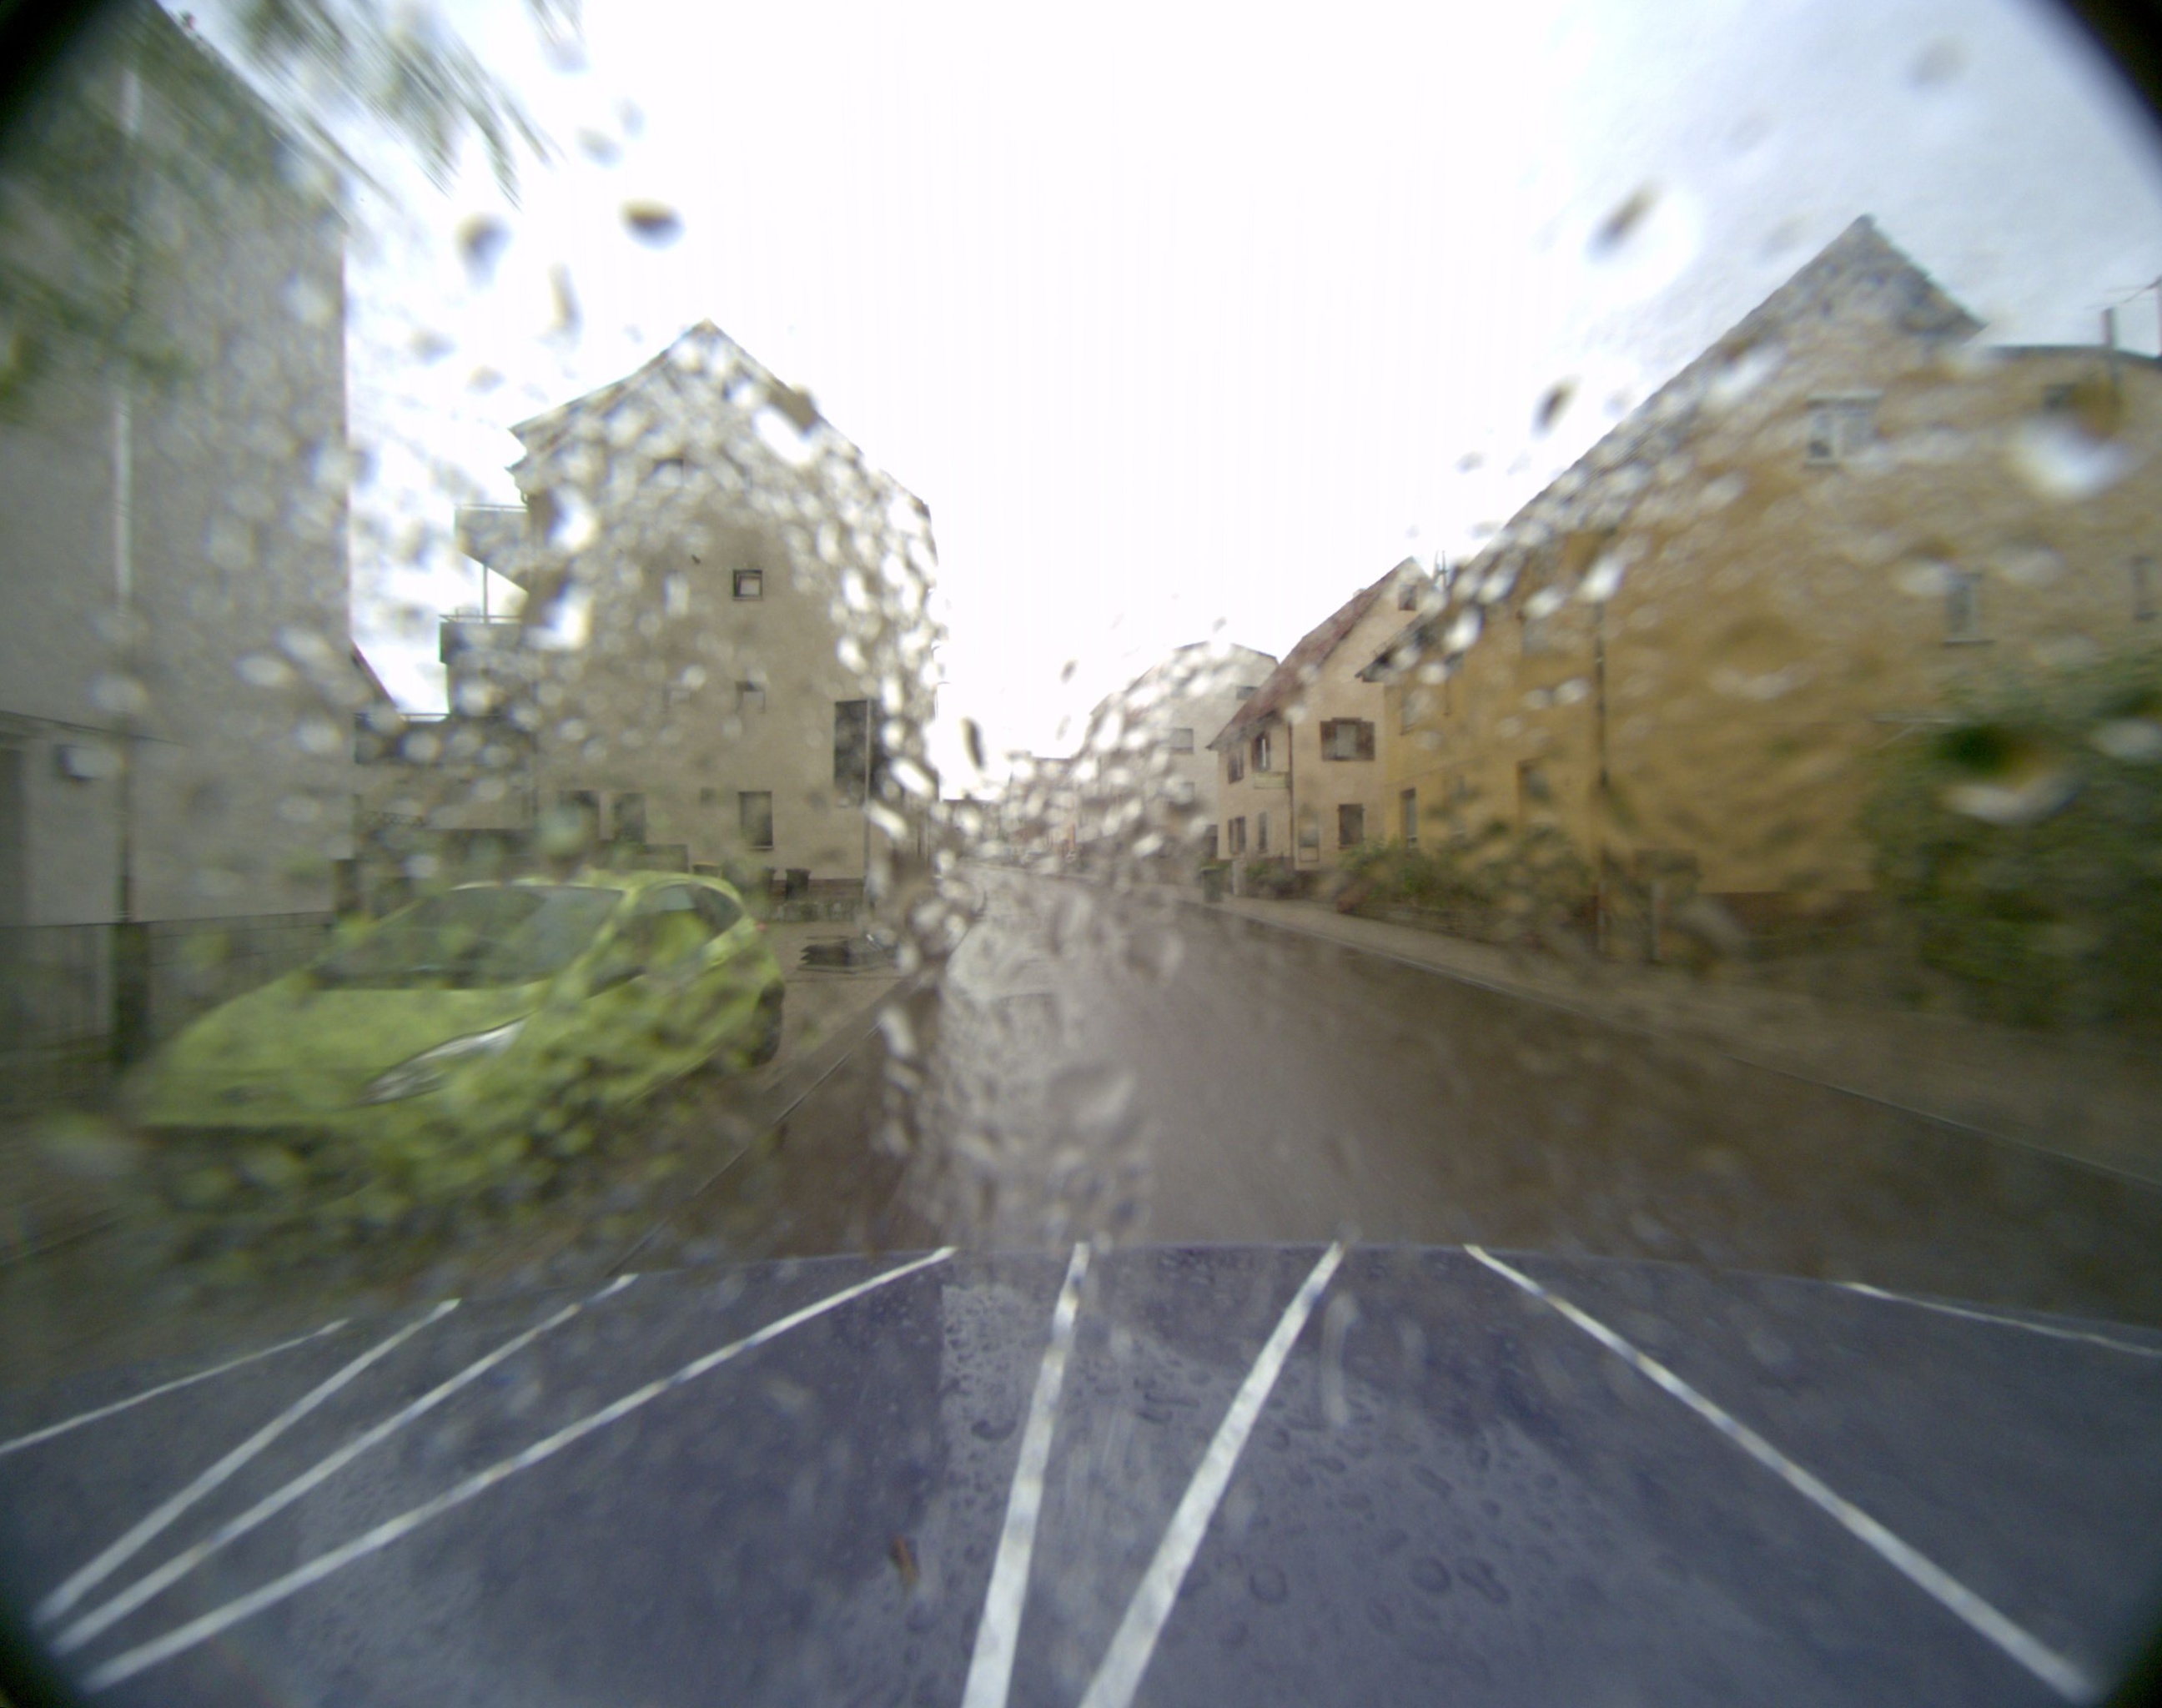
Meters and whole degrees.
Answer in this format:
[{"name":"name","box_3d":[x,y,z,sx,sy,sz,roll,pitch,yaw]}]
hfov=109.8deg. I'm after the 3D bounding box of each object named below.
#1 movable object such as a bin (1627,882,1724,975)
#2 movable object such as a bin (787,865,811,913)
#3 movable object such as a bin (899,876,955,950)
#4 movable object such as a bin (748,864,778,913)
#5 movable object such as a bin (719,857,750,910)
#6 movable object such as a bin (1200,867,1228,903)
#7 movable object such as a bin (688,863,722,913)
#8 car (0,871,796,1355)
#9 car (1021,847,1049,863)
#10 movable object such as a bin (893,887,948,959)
[{"name":"movable object such as a bin","box_3d":[7.692,0.951,9.863,0.659,1.103,0.721,2,1,4]},{"name":"movable object such as a bin","box_3d":[-6.761,0.841,18.246,0.511,1.103,0.719,1,2,-19]},{"name":"movable object such as a bin","box_3d":[-2.845,1.066,14.139,0.797,1.241,1.243,2,1,-3]},{"name":"movable object such as a bin","box_3d":[-7.523,0.819,17.993,0.586,1.103,0.719,1,2,-19]},{"name":"movable object such as a bin","box_3d":[-8.094,0.684,17.769,0.586,1.178,0.719,1,2,-19]},{"name":"movable object such as a bin","box_3d":[4.081,0.952,23.300,0.715,1.053,0.575,-2,2,-3]},{"name":"movable object such as a bin","box_3d":[-8.666,0.776,17.525,0.586,1.103,0.719,1,2,-19]},{"name":"car","box_3d":[-3.190,0.947,4.443,1.642,1.516,3.633,-1,1,0]},{"name":"car","box_3d":[-4.317,0.071,71.403,2.000,1.437,3.995,-2,1,-12]},{"name":"movable object such as a bin","box_3d":[-2.697,1.147,12.806,0.762,1.103,0.809,2,1,-3]}]
